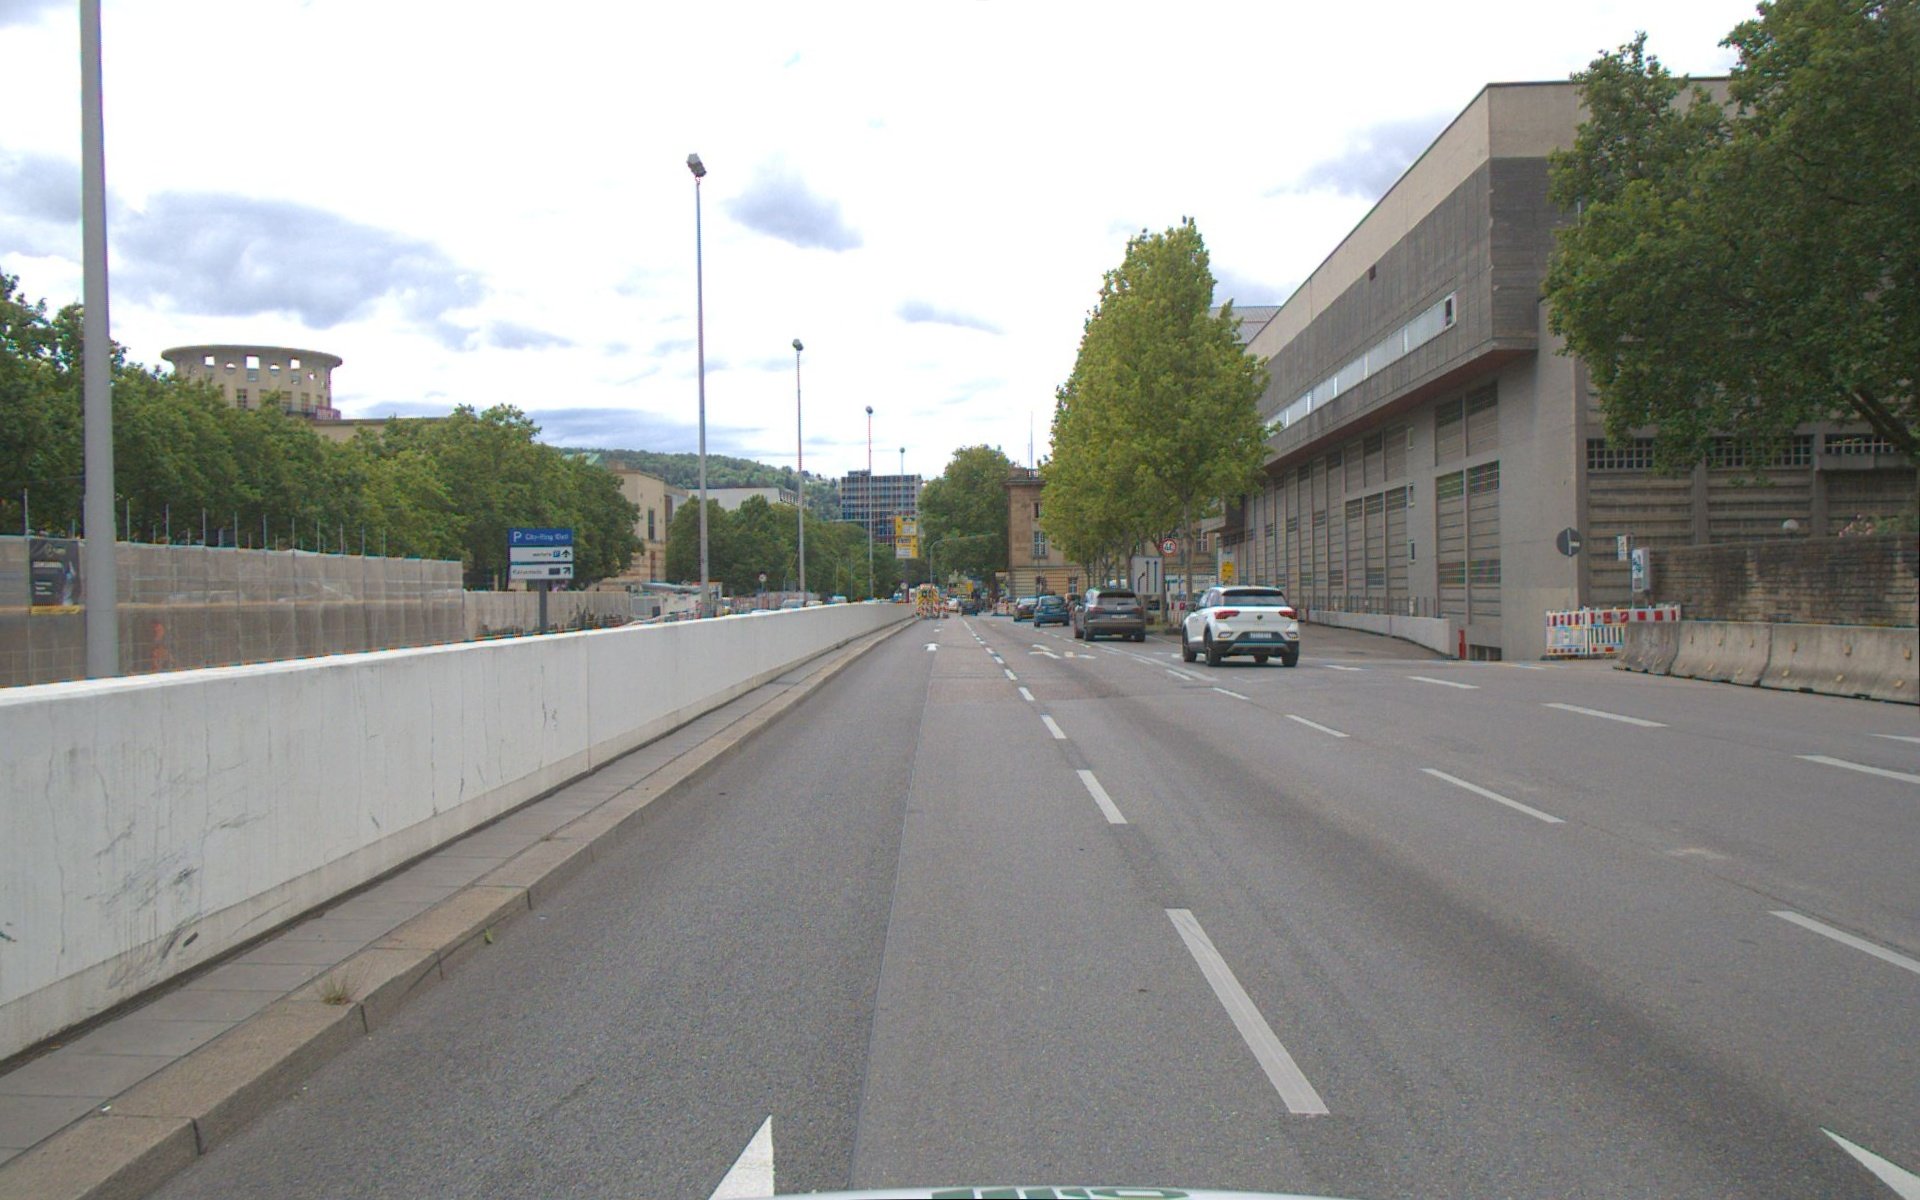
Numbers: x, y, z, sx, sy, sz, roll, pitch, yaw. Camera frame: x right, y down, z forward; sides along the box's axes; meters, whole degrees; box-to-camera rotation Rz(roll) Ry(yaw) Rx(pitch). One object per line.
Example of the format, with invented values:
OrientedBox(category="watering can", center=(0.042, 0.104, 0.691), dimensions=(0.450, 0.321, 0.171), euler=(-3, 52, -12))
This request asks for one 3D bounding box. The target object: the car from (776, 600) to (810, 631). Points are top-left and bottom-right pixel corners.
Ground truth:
OrientedBox(category="car", center=(-11.719, 1.079, 116.323), dimensions=(1.953, 2.048, 4.000), euler=(-1, 1, 0))

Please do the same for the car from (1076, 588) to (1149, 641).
OrientedBox(category="car", center=(4.915, 0.438, 53.942), dimensions=(1.787, 1.595, 4.478), euler=(-1, 0, -2))

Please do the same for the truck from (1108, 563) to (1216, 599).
OrientedBox(category="truck", center=(18.885, -1.802, 155.243), dimensions=(9.823, 3.104, 2.569), euler=(-1, -1, 1))

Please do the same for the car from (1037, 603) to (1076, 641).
OrientedBox(category="car", center=(4.745, 1.051, 81.081), dimensions=(1.785, 1.771, 4.482), euler=(-2, 0, 5))

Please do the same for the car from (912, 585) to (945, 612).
OrientedBox(category="car", center=(-3.001, -0.154, 158.644), dimensions=(2.528, 2.416, 5.529), euler=(-2, 0, 4))

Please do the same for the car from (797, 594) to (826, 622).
OrientedBox(category="car", center=(-11.804, 0.618, 131.648), dimensions=(1.953, 2.048, 4.000), euler=(-1, 1, 0))

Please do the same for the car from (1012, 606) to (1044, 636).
OrientedBox(category="car", center=(4.315, 1.297, 104.880), dimensions=(1.785, 1.771, 4.482), euler=(-2, 0, 5))

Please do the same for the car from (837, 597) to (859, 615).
OrientedBox(category="car", center=(-10.839, 0.606, 160.268), dimensions=(1.715, 1.595, 3.377), euler=(-3, 0, 1))

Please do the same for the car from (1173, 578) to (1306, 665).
OrientedBox(category="car", center=(5.561, 0.471, 33.409), dimensions=(1.716, 1.595, 4.328), euler=(-2, -2, -3))
